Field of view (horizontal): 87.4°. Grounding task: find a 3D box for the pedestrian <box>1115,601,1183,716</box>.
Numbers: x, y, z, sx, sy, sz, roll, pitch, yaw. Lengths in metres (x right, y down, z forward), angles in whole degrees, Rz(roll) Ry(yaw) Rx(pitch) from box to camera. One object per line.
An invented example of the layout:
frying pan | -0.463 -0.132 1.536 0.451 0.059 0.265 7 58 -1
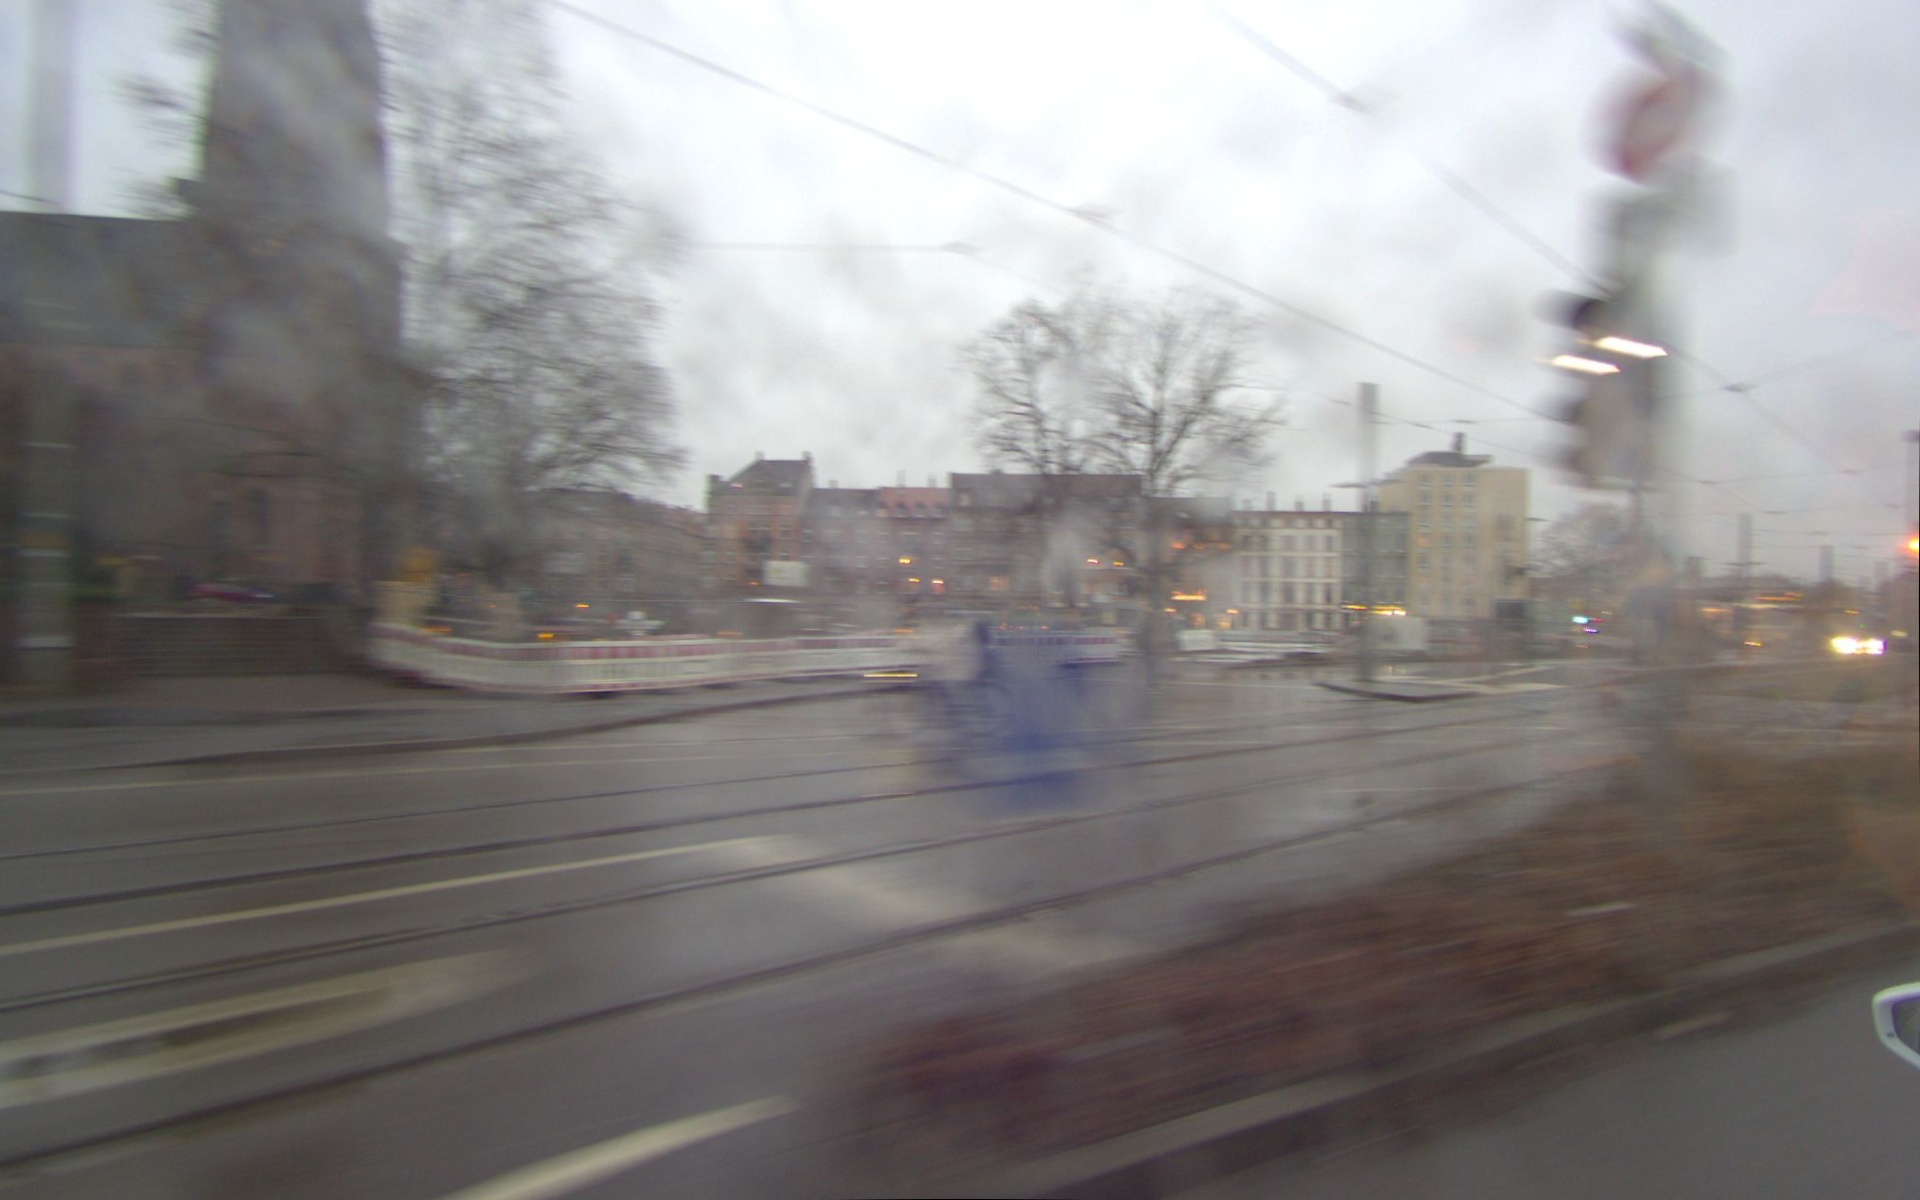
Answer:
pedestrian | 4.102 1.245 21.858 1.045 2.402 0.995 3 1 -10

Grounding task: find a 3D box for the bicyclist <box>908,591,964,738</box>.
bicyclist | -0.301 0.799 12.754 0.577 1.791 0.612 3 1 3

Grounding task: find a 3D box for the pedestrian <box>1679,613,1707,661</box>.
pedestrian | 28.702 1.437 39.324 0.711 1.830 0.706 2 0 -40

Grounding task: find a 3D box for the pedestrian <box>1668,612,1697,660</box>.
pedestrian | 27.786 1.385 38.643 0.711 1.780 0.706 2 0 -40

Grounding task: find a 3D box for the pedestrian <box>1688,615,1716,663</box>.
pedestrian | 29.513 1.548 39.975 0.711 1.830 0.706 2 0 -40
